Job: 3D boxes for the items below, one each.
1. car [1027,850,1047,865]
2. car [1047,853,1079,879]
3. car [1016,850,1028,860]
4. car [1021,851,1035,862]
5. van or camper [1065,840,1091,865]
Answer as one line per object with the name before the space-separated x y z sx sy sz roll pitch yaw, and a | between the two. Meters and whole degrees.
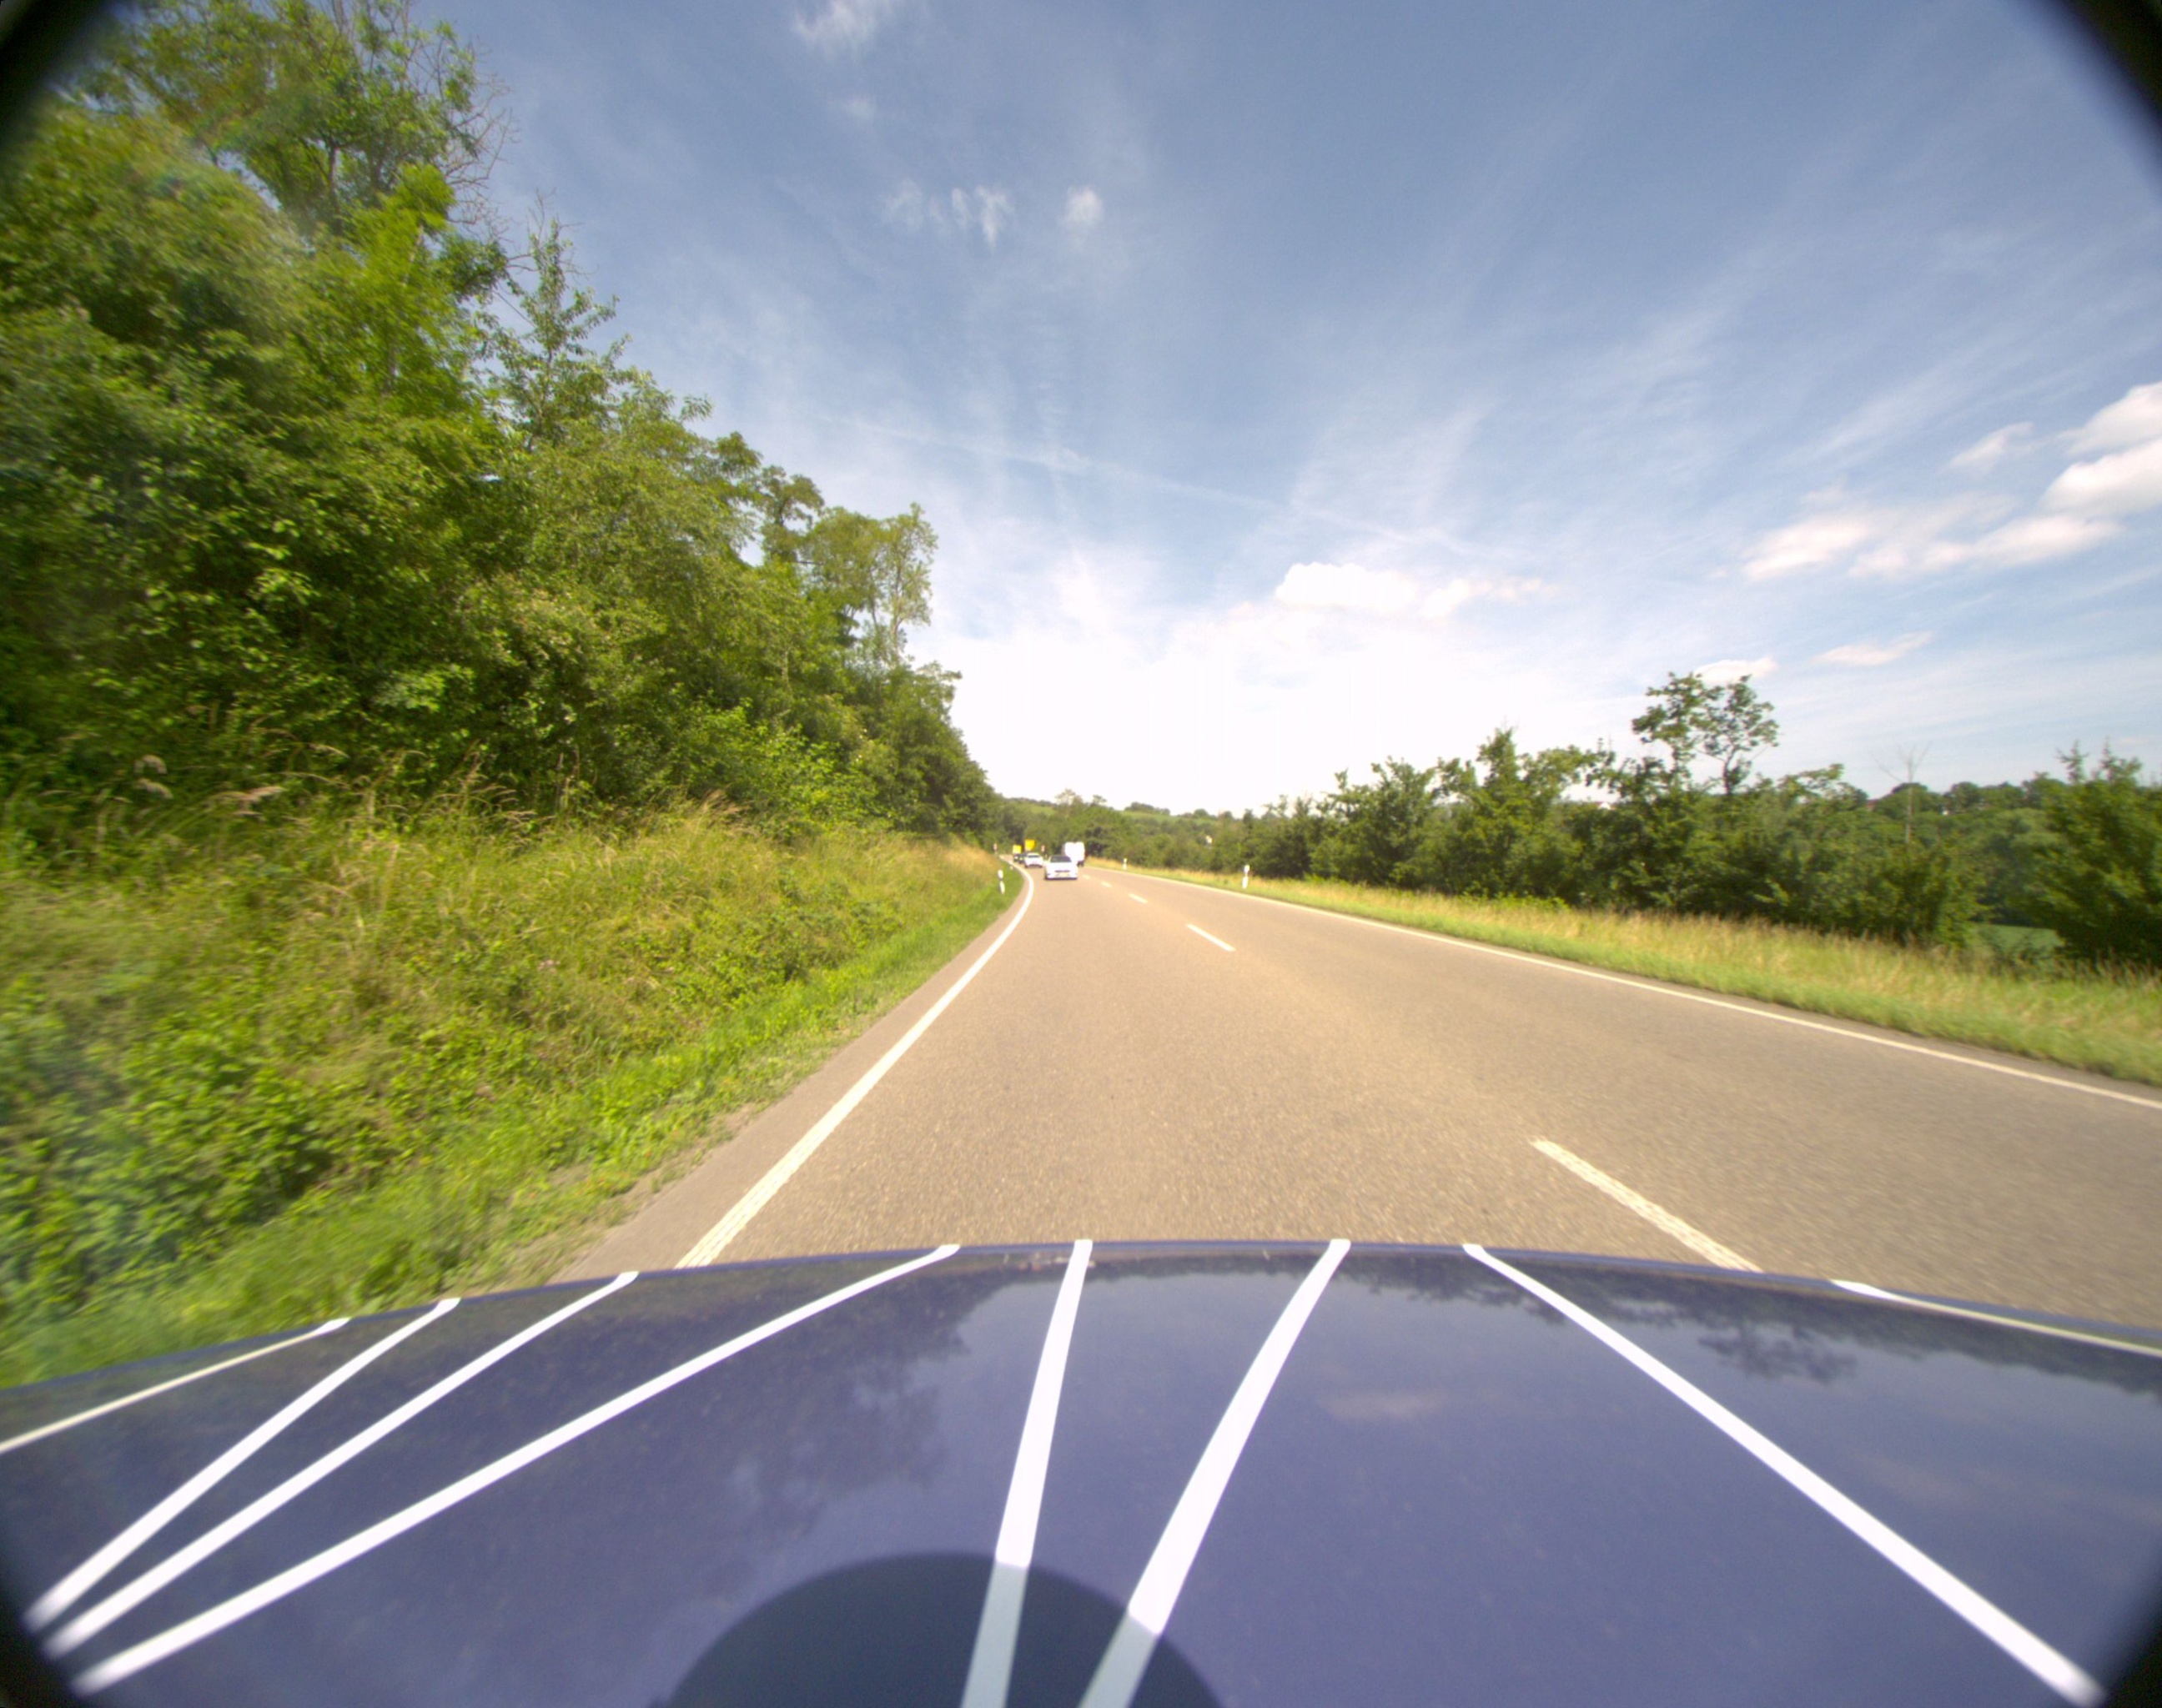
car | -4.666 0.368 79.747 1.867 1.480 3.998 -2 0 -5
car | -1.103 0.679 45.450 1.773 1.437 3.999 -1 0 -2
car | -9.554 0.150 122.530 1.666 1.641 3.997 -1 0 -7
car | -7.339 0.358 104.838 1.825 1.510 3.997 -1 0 -6
van or camper | -0.347 -0.168 79.624 2.215 2.513 6.129 -1 1 -5
